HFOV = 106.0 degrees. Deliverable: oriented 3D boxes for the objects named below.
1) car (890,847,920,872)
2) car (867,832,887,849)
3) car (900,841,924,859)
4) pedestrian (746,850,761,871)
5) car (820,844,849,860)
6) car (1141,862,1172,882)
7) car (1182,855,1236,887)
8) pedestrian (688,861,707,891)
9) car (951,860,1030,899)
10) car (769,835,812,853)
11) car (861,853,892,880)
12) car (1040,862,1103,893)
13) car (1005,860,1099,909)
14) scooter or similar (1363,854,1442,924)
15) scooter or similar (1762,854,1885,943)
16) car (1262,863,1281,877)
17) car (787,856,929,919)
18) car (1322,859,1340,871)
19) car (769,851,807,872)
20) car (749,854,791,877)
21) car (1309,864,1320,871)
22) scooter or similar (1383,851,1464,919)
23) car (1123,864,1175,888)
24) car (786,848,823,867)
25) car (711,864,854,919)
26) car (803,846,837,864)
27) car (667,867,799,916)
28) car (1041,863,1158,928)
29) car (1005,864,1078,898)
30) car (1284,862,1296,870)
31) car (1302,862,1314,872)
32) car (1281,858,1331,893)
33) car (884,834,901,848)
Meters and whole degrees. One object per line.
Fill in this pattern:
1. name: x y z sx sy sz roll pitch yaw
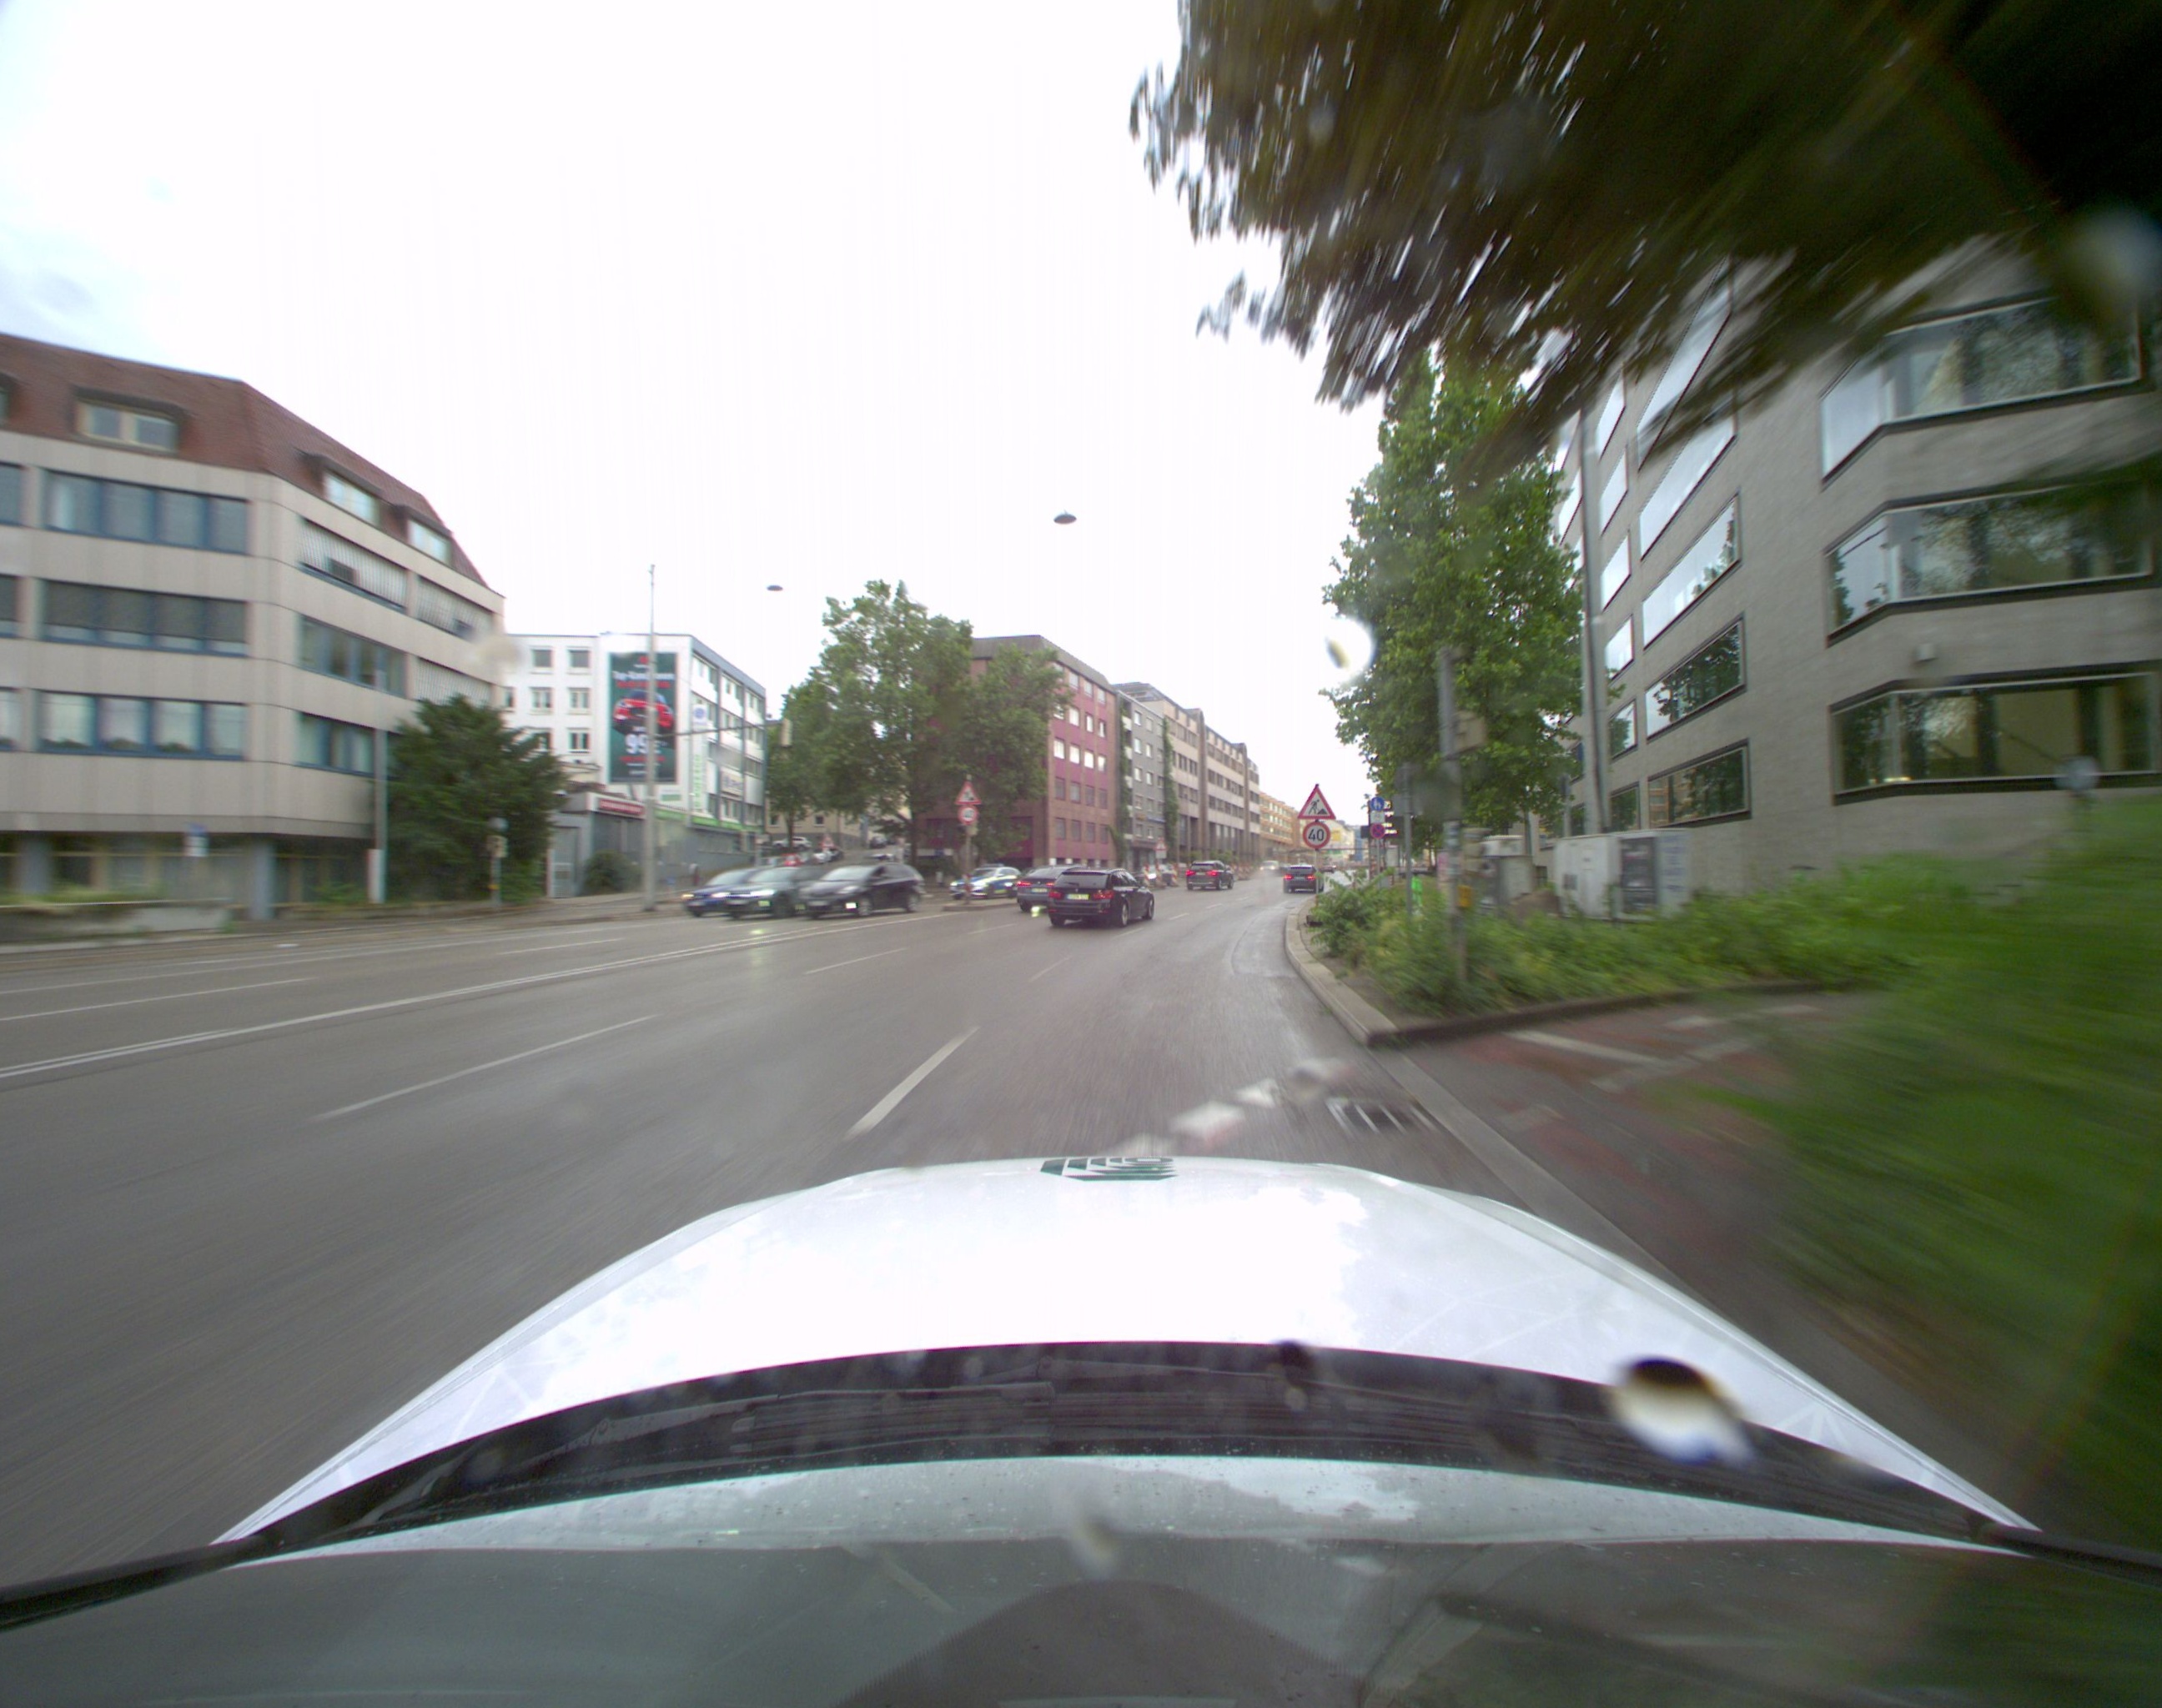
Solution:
1. car: -15.158 0.428 70.292 1.927 1.867 3.996 -1 4 -4
2. car: -27.079 -1.752 108.439 1.991 2.014 3.991 -1 -2 -6
3. car: -17.862 -0.429 86.189 1.927 1.674 3.996 -1 3 -4
4. pedestrian: -27.123 0.541 67.469 0.837 1.718 0.980 -1 -2 -4
5. car: -25.095 -0.205 83.028 1.828 1.430 4.069 -2 3 -1
6. car: 6.067 1.445 64.889 1.541 1.484 2.966 -2 -1 24
7. car: 7.267 0.983 45.993 1.882 1.693 4.023 -2 -2 25
8. pedestrian: -25.757 1.494 54.763 0.837 2.014 0.980 -1 -2 -4
9. car: -4.213 1.193 38.650 1.751 1.682 4.614 -2 -2 21
10. car: -34.475 -1.209 96.744 4.415 2.006 1.994 -1 -2 -9
11. car: -15.672 0.927 62.608 1.930 1.867 3.988 1 2 -10
12. car: -0.487 1.365 47.905 1.976 1.677 4.962 -2 -1 21
13. car: -0.824 0.946 26.148 1.777 1.427 4.401 -2 -2 15
14. scooter or similar: 5.563 0.598 14.173 0.633 1.128 1.591 -1 -2 -4
15. scooter or similar: 11.311 0.673 12.451 1.227 1.312 0.557 -2 -2 18
16. car: 26.896 2.248 114.680 1.977 1.990 5.314 -2 -2 19
17. car: -6.382 0.934 23.920 1.839 1.622 4.611 -3 -1 16
18. car: 36.404 1.661 118.688 1.882 1.693 4.023 -2 -2 25
19. car: -24.748 0.602 68.966 1.828 1.430 4.068 -2 3 -2
20. car: -24.255 0.881 63.579 1.829 1.463 4.173 -2 3 -3
21. car: 49.727 2.895 173.336 1.844 1.533 4.252 -2 -2 21
22. scooter or similar: 6.332 0.564 15.049 1.343 1.201 0.682 0 -2 -31
23. car: 4.510 1.415 53.251 1.976 1.438 4.962 -2 -1 21
24. car: -24.892 0.304 73.429 1.826 1.430 4.072 -1 3 1
25. car: -8.965 1.102 24.849 1.803 1.512 4.252 -2 -2 19
26. car: -25.024 0.041 78.131 1.826 1.430 4.072 -1 3 1
27. car: -11.621 1.226 27.515 1.748 1.512 4.140 -2 -2 19
28. car: 0.611 0.962 20.686 1.777 1.426 4.633 -1 -1 17
29. car: -1.734 1.210 37.025 1.751 1.417 4.104 -2 -2 21
30. car: 48.156 2.763 187.736 1.976 1.620 4.788 -2 -2 22
31. car: 43.642 2.478 156.470 1.706 1.770 4.448 -2 -2 22
32. car: 11.819 1.120 42.580 1.883 1.693 4.022 -2 -2 24
33. car: -28.265 -1.958 122.130 1.991 1.842 3.993 -1 2 -6
